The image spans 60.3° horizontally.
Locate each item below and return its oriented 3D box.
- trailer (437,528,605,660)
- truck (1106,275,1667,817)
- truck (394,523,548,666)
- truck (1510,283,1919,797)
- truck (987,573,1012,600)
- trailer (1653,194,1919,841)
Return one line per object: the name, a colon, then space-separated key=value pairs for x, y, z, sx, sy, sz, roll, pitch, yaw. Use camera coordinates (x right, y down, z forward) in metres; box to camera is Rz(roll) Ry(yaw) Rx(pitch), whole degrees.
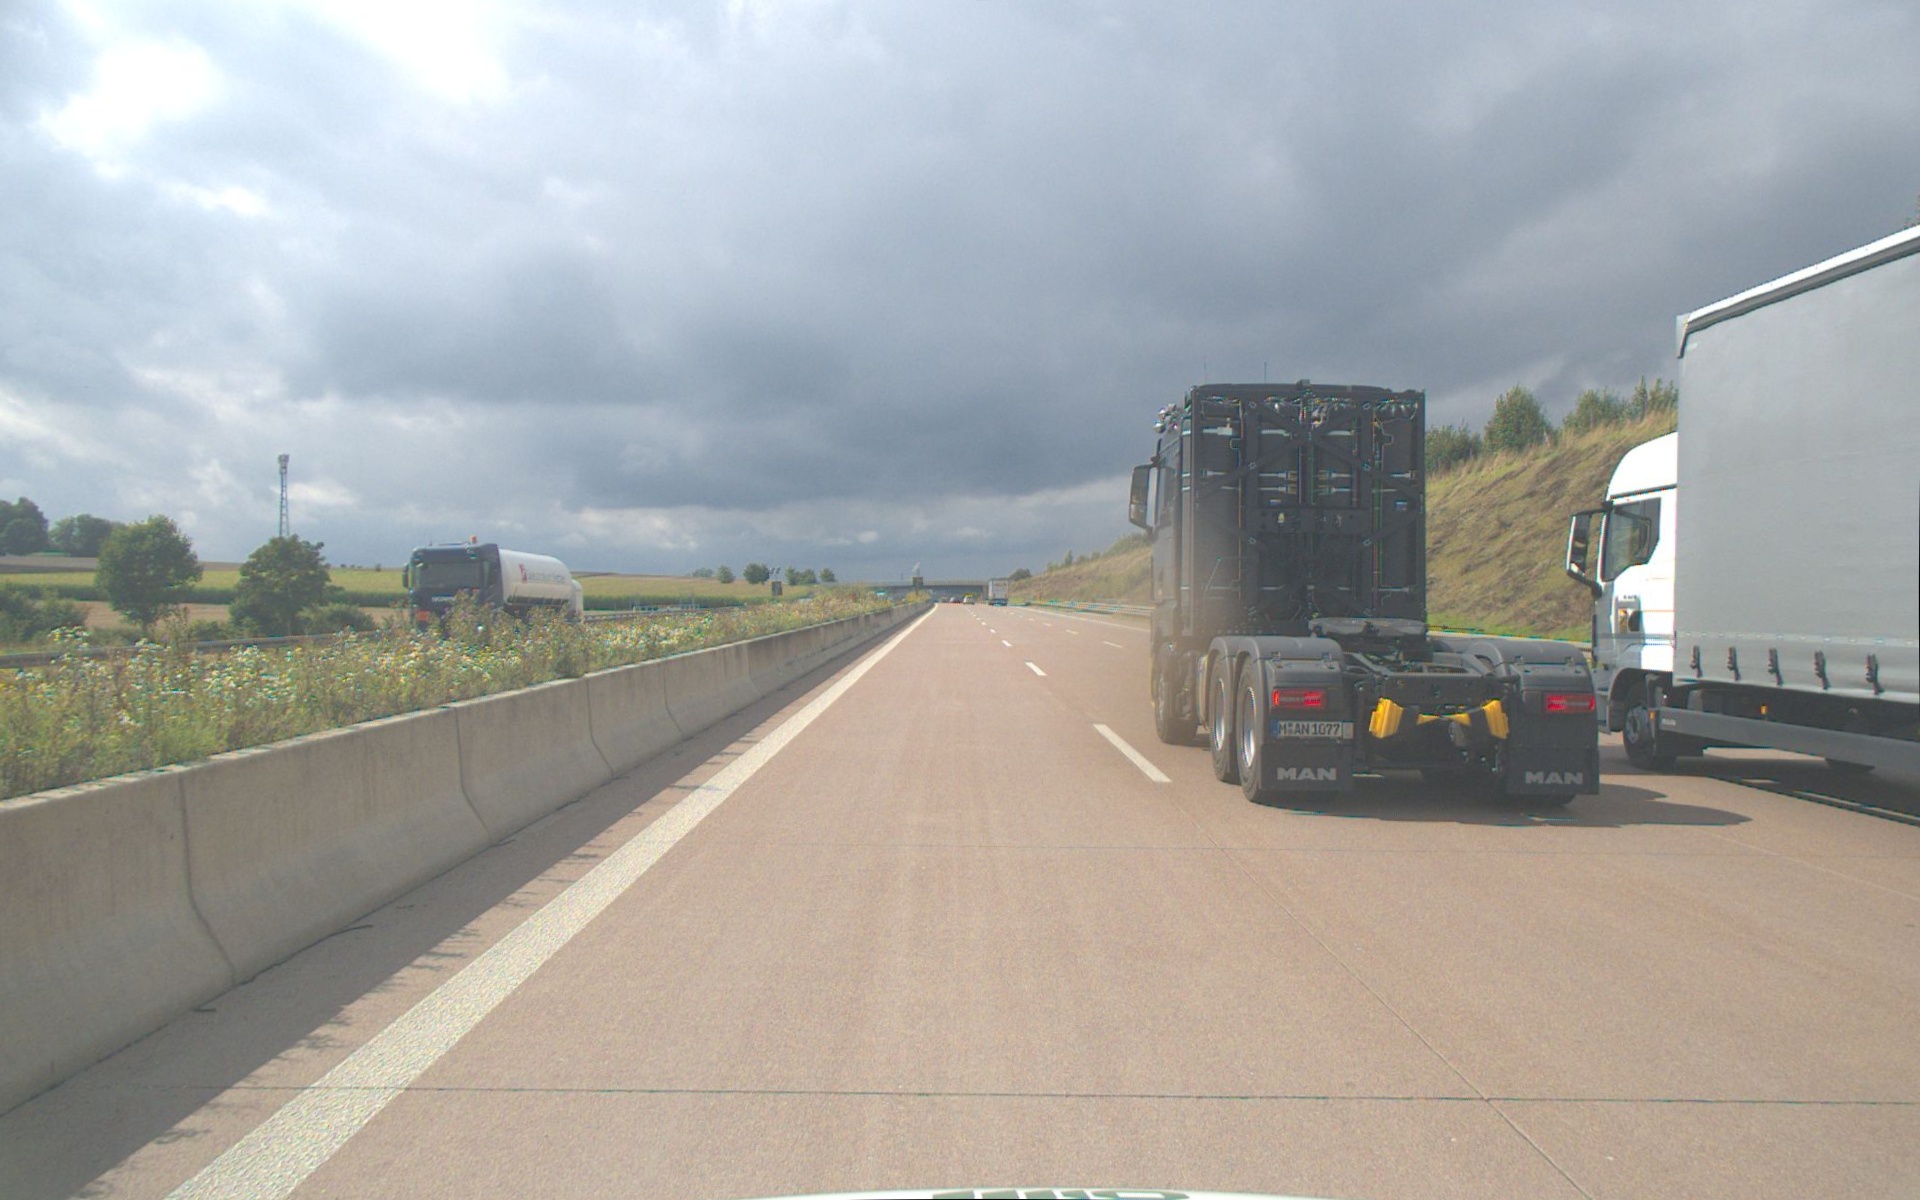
trailer: x=-15.447 y=-0.229 z=59.268 sx=2.832 sy=4.170 sz=11.037 roll=-2 pitch=0 yaw=0
truck: x=3.257 y=-0.352 z=15.330 sx=2.790 sy=3.612 sz=8.316 roll=1 pitch=0 yaw=-2
truck: x=-15.500 y=-0.186 z=52.921 sx=2.832 sy=4.170 sz=6.335 roll=-2 pitch=0 yaw=0
truck: x=7.219 y=-0.452 z=15.137 sx=2.693 sy=3.960 sz=4.544 roll=1 pitch=0 yaw=-2
truck: x=6.065 y=-2.039 z=256.235 sx=3.543 sy=4.014 sz=11.174 roll=1 pitch=1 yaw=0
trailer: x=7.421 y=-0.507 z=9.810 sx=2.692 sy=4.082 sz=8.667 roll=1 pitch=0 yaw=-2
